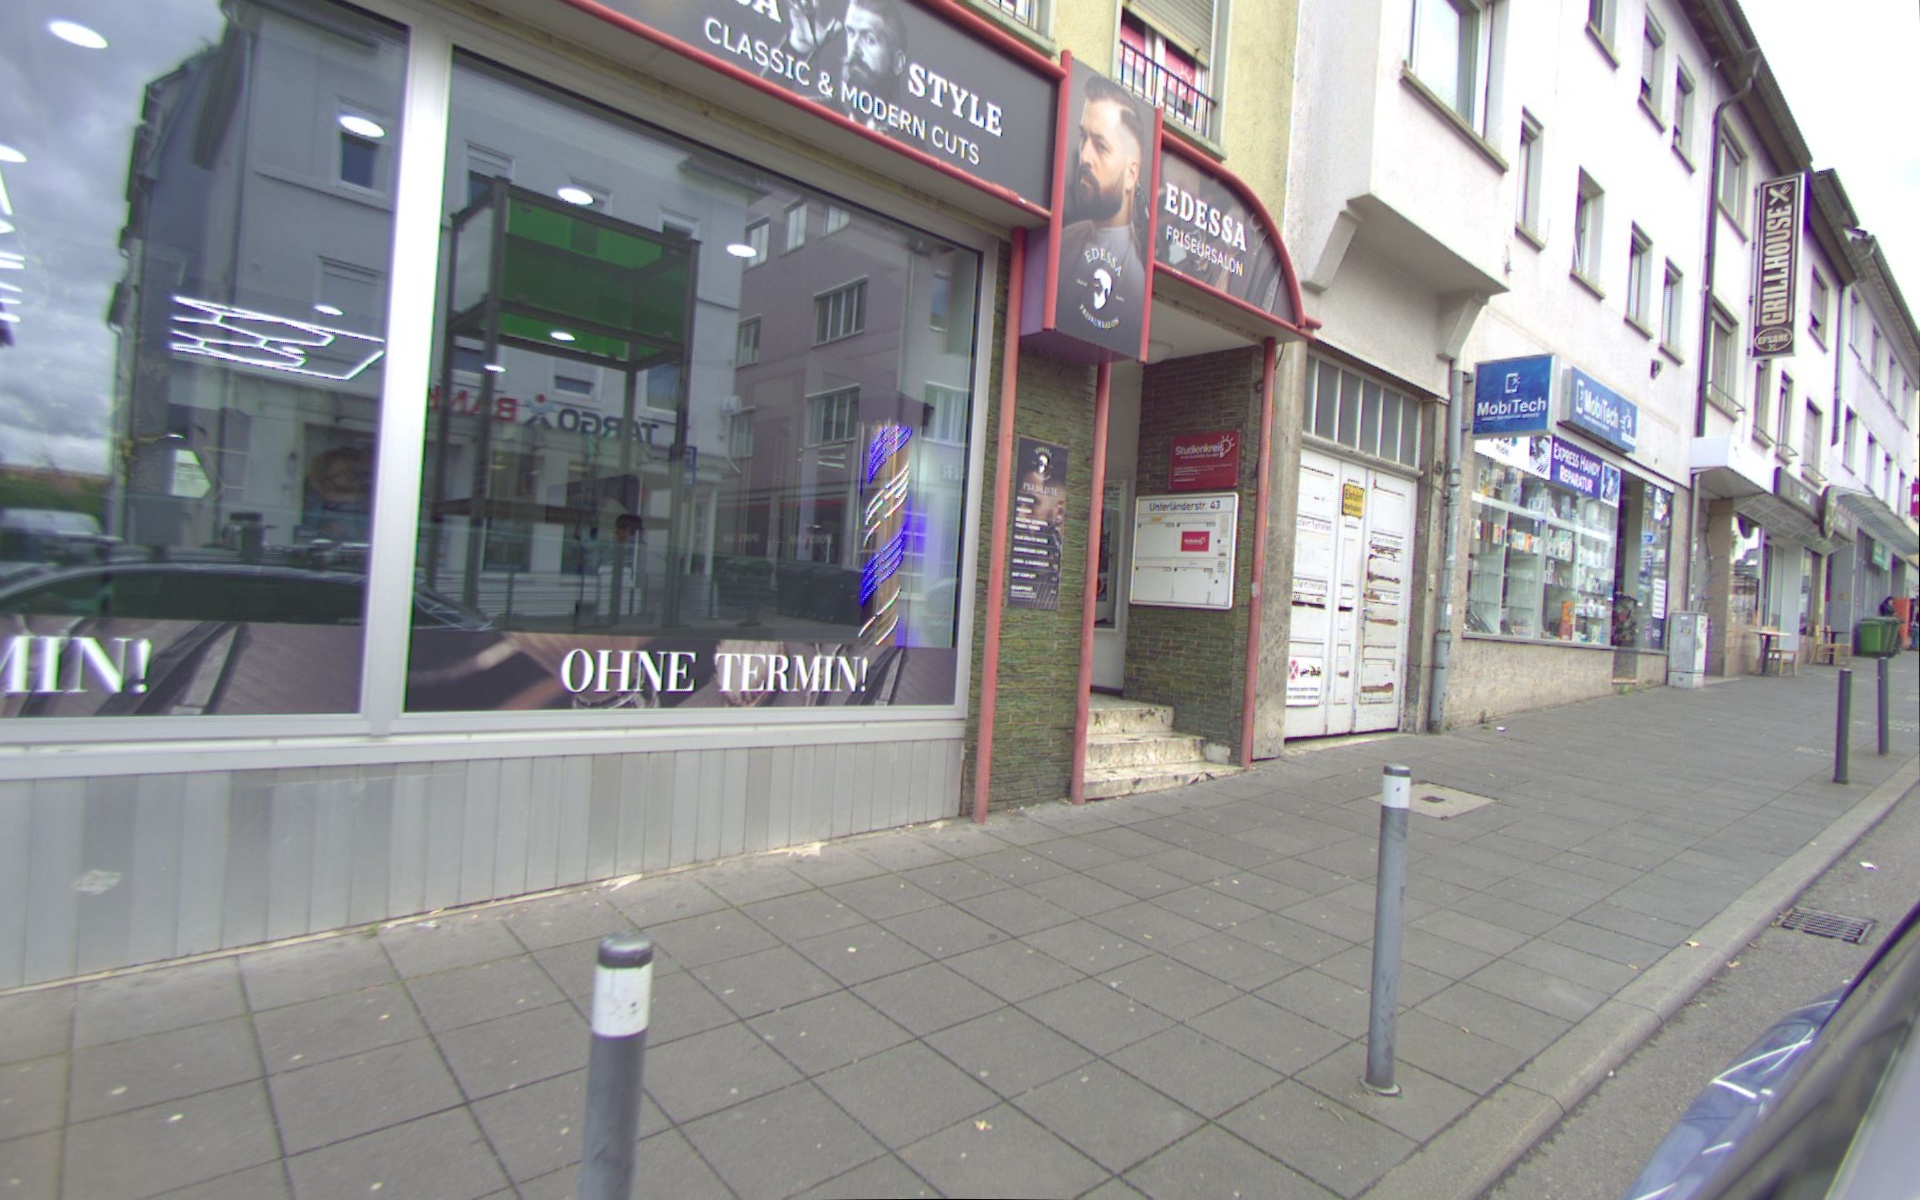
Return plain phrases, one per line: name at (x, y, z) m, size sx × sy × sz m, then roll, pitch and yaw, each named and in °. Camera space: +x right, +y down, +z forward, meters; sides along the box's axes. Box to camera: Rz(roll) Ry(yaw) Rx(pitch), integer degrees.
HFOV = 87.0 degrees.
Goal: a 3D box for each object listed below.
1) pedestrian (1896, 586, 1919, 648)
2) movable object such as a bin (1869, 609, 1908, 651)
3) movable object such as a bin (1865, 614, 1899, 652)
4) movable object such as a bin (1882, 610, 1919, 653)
pedestrian at (27.501, 0.484, 29.159) m, size 0.621 × 1.748 × 0.601 m, roll 0°, pitch 0°, yaw 26°
movable object such as a bin at (24.543, 0.782, 26.765) m, size 0.550 × 1.043 × 0.670 m, roll 1°, pitch 1°, yaw -41°
movable object such as a bin at (24.057, 0.852, 26.406) m, size 0.490 × 0.968 × 0.568 m, roll 1°, pitch 1°, yaw -41°
movable object such as a bin at (25.195, 0.836, 27.094) m, size 0.661 × 1.094 × 0.652 m, roll 1°, pitch 1°, yaw -41°
